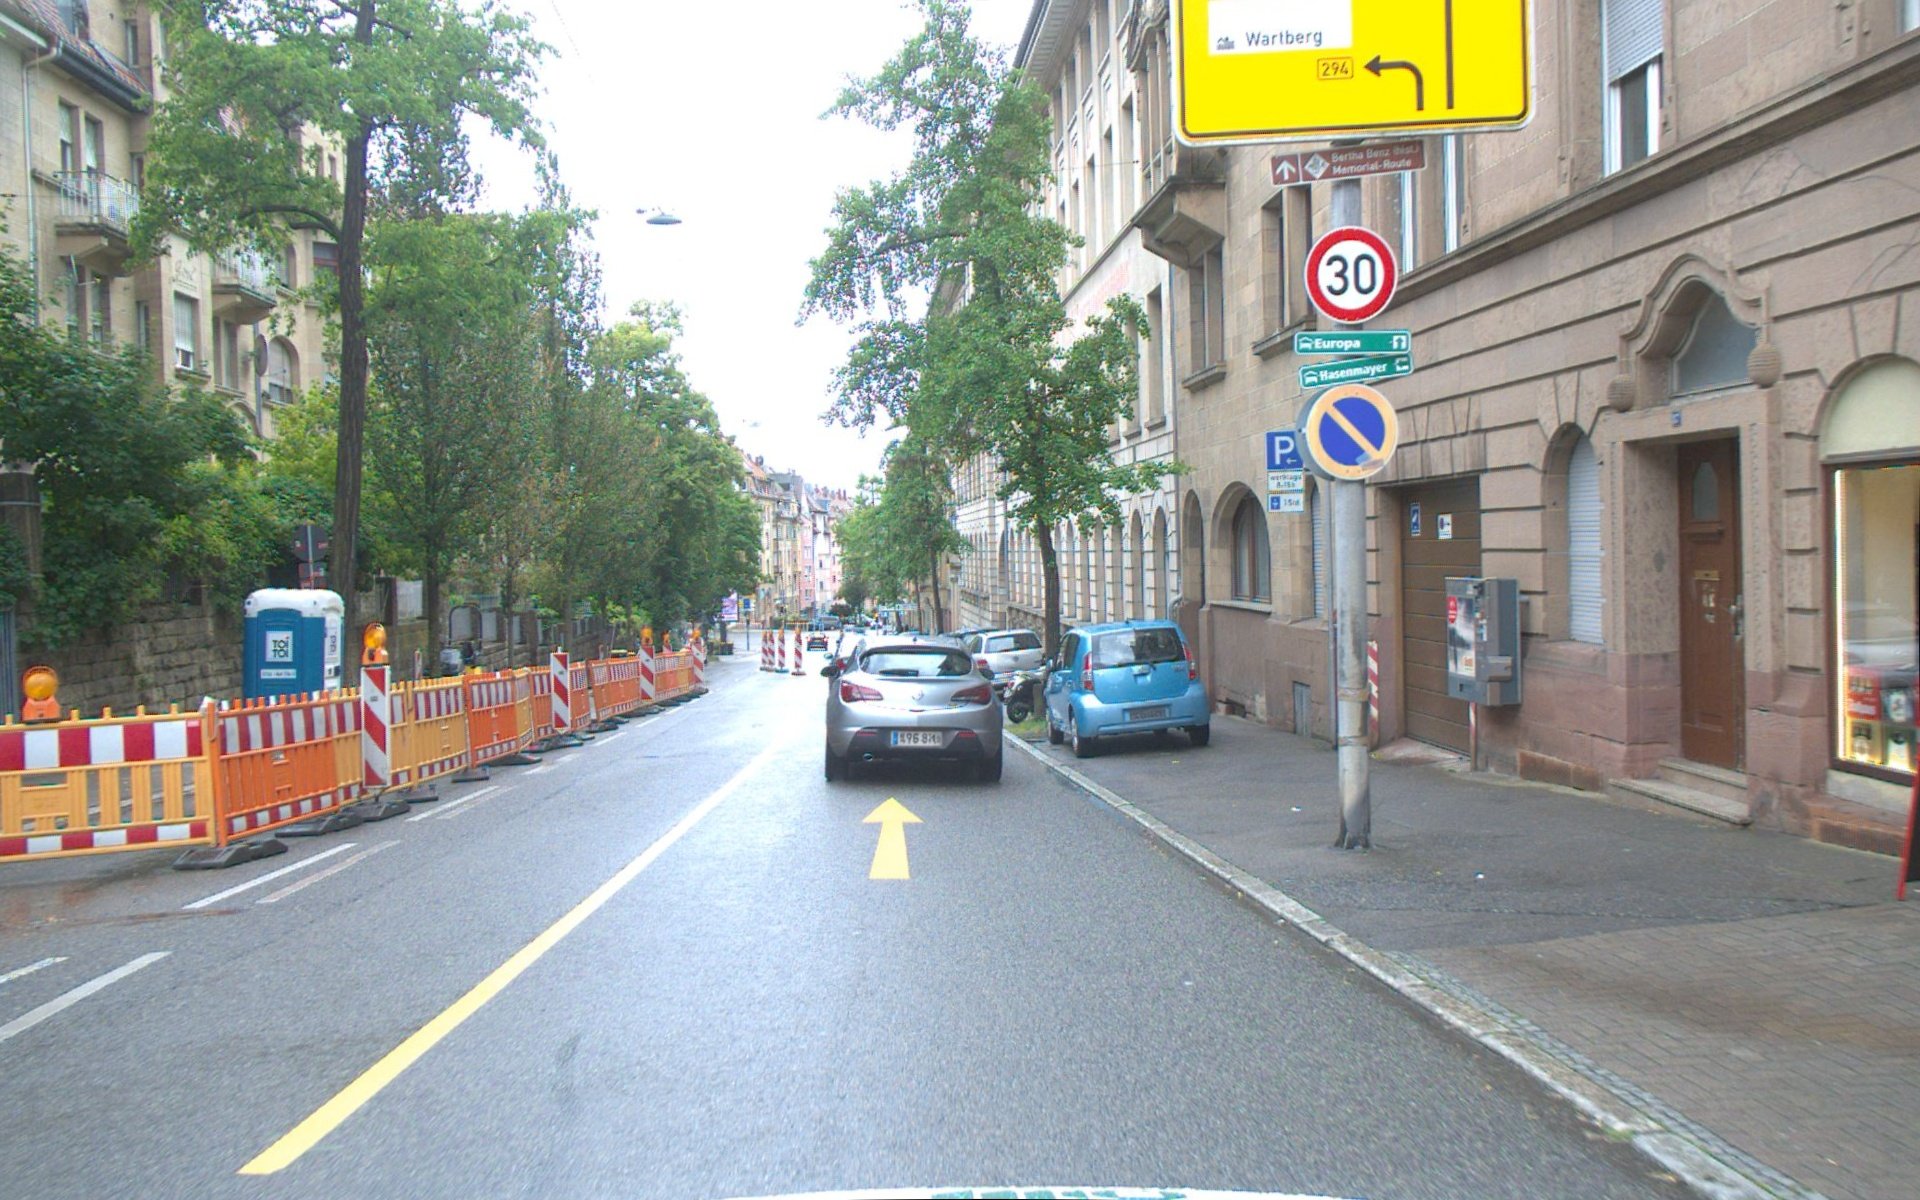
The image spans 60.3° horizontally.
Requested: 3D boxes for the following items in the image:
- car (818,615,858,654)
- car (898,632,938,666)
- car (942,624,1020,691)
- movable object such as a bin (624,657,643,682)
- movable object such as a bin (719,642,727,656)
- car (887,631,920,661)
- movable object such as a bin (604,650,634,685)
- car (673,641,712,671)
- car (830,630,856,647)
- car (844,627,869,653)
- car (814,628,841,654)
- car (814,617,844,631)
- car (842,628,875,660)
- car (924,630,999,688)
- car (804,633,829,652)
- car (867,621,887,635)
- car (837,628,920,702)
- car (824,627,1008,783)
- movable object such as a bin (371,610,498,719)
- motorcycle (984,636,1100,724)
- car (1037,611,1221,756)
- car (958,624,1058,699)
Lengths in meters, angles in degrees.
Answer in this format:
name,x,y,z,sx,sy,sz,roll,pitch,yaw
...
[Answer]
name,x,y,z,sx,sy,sz,roll,pitch,yaw
car,-5.465,1.533,73.615,1.625,1.570,3.660,-3,-1,-5
car,-1.929,2.218,75.221,1.605,1.454,3.373,-2,-1,-5
car,0.510,1.452,42.679,1.607,1.546,3.179,-4,-1,-5
movable object such as a bin,-12.274,2.606,62.240,0.592,0.924,0.623,0,-1,-3
movable object such as a bin,-18.769,3.869,130.853,0.614,1.077,0.719,1,-2,-10
car,-3.261,2.615,95.104,1.606,1.631,3.852,-2,-1,-6
movable object such as a bin,-12.340,2.429,59.858,0.926,1.235,0.855,0,-1,-3
car,-14.273,2.966,88.423,1.605,1.464,4.076,-2,-1,-4
car,-12.210,4.045,172.952,1.951,1.713,4.002,1,-2,6
car,-7.880,3.059,125.911,1.682,1.813,3.661,-4,-1,-5
car,-8.531,2.644,106.827,1.624,1.570,3.661,-3,-1,-5
car,-17.641,3.223,222.995,3.908,1.781,1.998,1,-2,-4
car,-5.451,2.355,88.722,1.624,1.570,3.661,-3,-1,-5
car,-0.010,1.706,48.684,1.724,1.486,4.718,-4,-1,-5
car,-12.279,3.636,141.300,1.955,1.527,3.994,-1,-1,-6
car,-10.740,3.644,213.813,1.951,1.713,4.002,1,-2,6
car,-1.818,1.384,36.372,1.737,1.531,3.866,0,-1,-4
car,-0.477,1.043,17.862,1.774,1.475,3.867,0,-1,-2
movable object such as a bin,-12.007,1.446,37.941,1.953,2.340,2.815,-2,-1,-1
motorcycle,1.348,1.278,26.877,1.921,1.257,0.648,-4,0,-41
car,2.047,1.009,21.021,1.624,1.570,3.661,-3,-1,-5
car,1.020,1.341,37.301,1.662,1.456,4.417,-4,-1,-5
